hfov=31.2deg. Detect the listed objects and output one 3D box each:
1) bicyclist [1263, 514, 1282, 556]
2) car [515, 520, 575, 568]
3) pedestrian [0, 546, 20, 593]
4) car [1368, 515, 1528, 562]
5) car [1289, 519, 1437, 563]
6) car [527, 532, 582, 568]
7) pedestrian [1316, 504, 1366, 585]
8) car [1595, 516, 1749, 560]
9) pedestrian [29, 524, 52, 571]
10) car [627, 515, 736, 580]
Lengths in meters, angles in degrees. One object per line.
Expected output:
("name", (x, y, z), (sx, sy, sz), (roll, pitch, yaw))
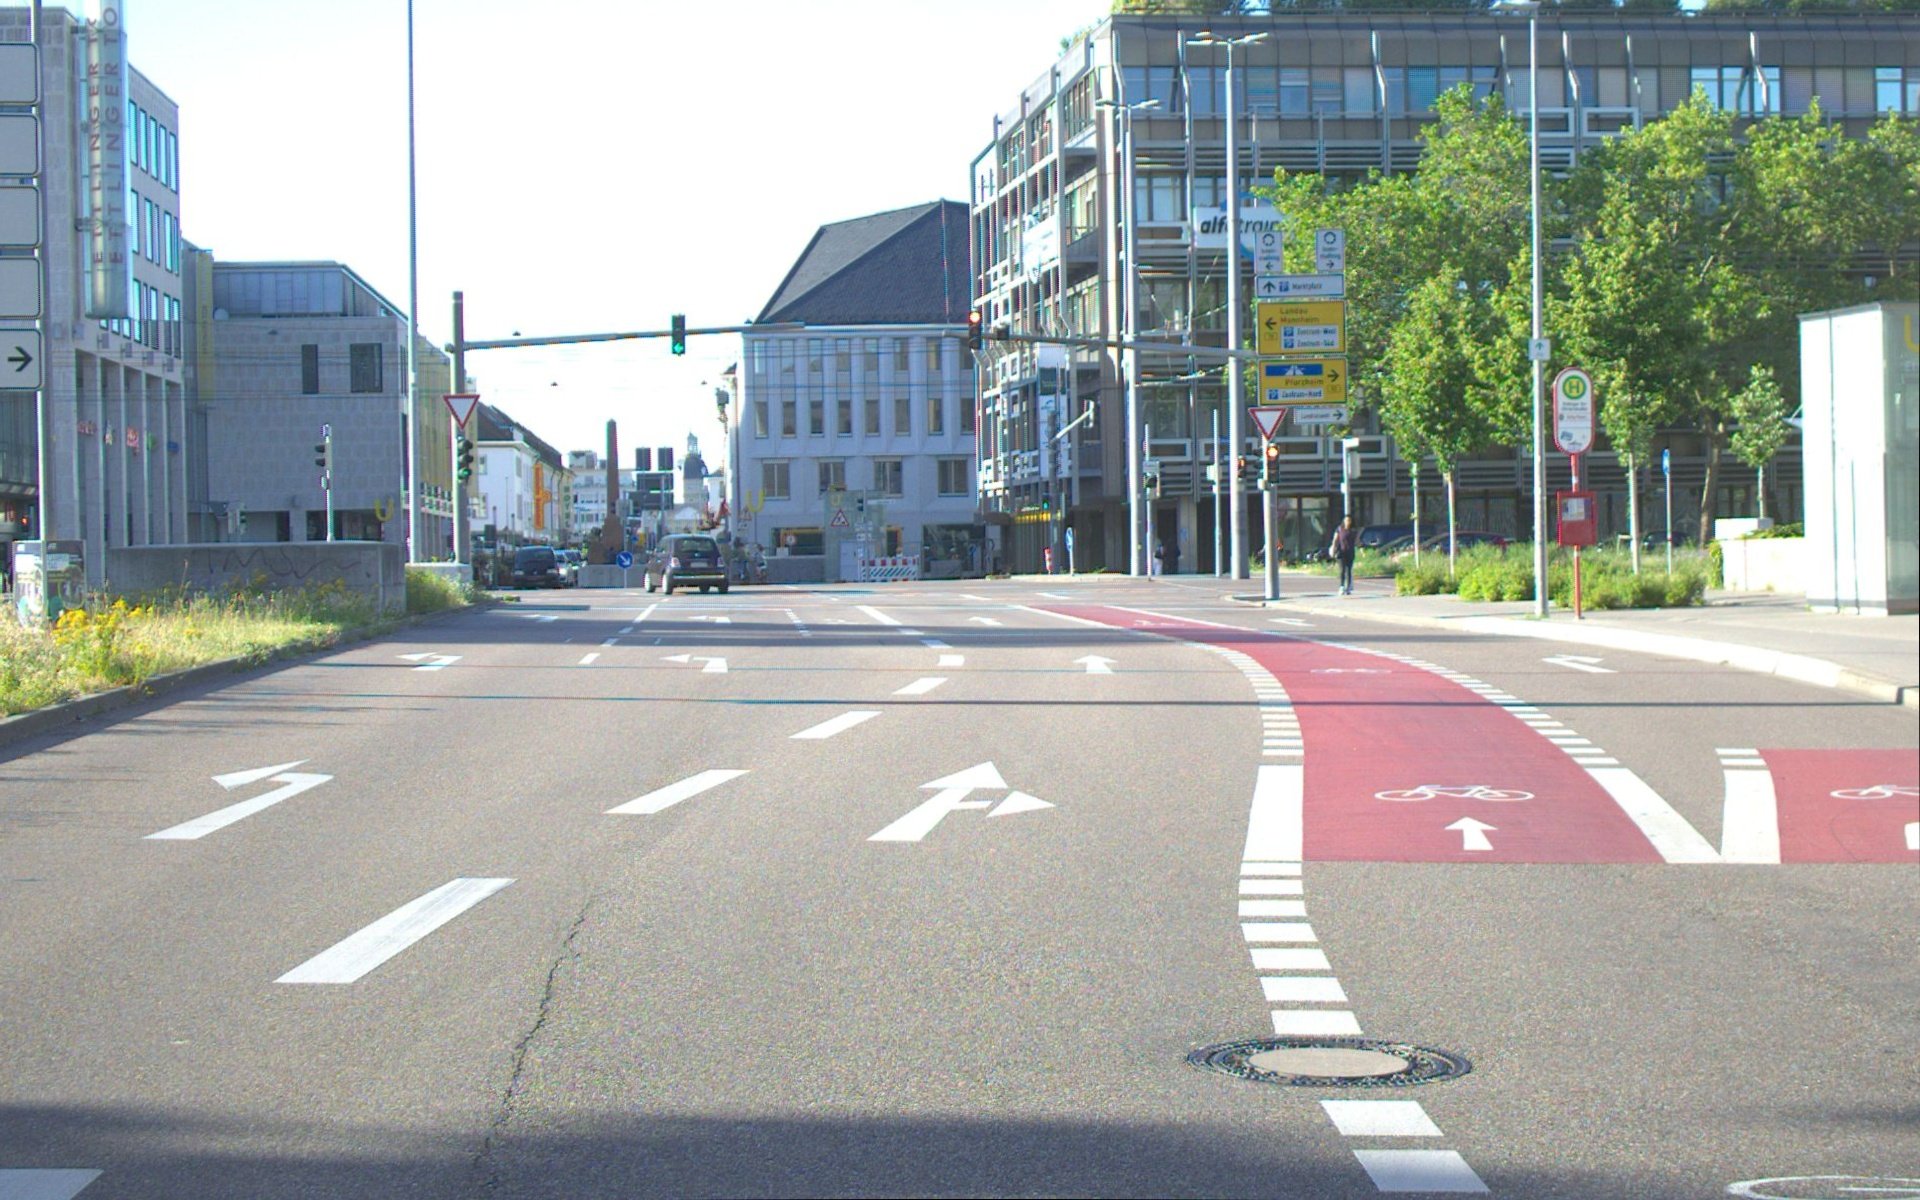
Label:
("bicyclist", (9.957, -2.078, 109.548), (0.508, 1.333, 0.452), (-1, 1, 0))
("car", (-16.042, -2.181, 133.040), (1.993, 1.736, 4.647), (-1, 3, -4))
("pedestrian", (-32.899, -1.069, 118.839), (0.622, 1.602, 0.653), (-1, 1, -4))
("car", (15.431, -1.948, 108.847), (4.630, 1.351, 2.001), (-1, 2, -7))
("car", (13.640, -2.007, 116.409), (4.630, 1.351, 2.001), (-1, 2, -7))
("car", (-16.744, -2.075, 142.162), (1.993, 1.351, 4.647), (-1, 3, -4))
("pedestrian", (8.371, -1.223, 75.517), (0.822, 1.742, 1.041), (-2, 1, 18))
("car", (23.722, -2.079, 114.584), (4.630, 1.351, 2.001), (-1, 2, -7))
("pedestrian", (-31.803, -1.815, 118.925), (0.622, 1.602, 0.653), (-1, 1, -4))
("car", (-7.074, -1.333, 86.983), (1.775, 1.558, 3.790), (-1, 1, -20))
